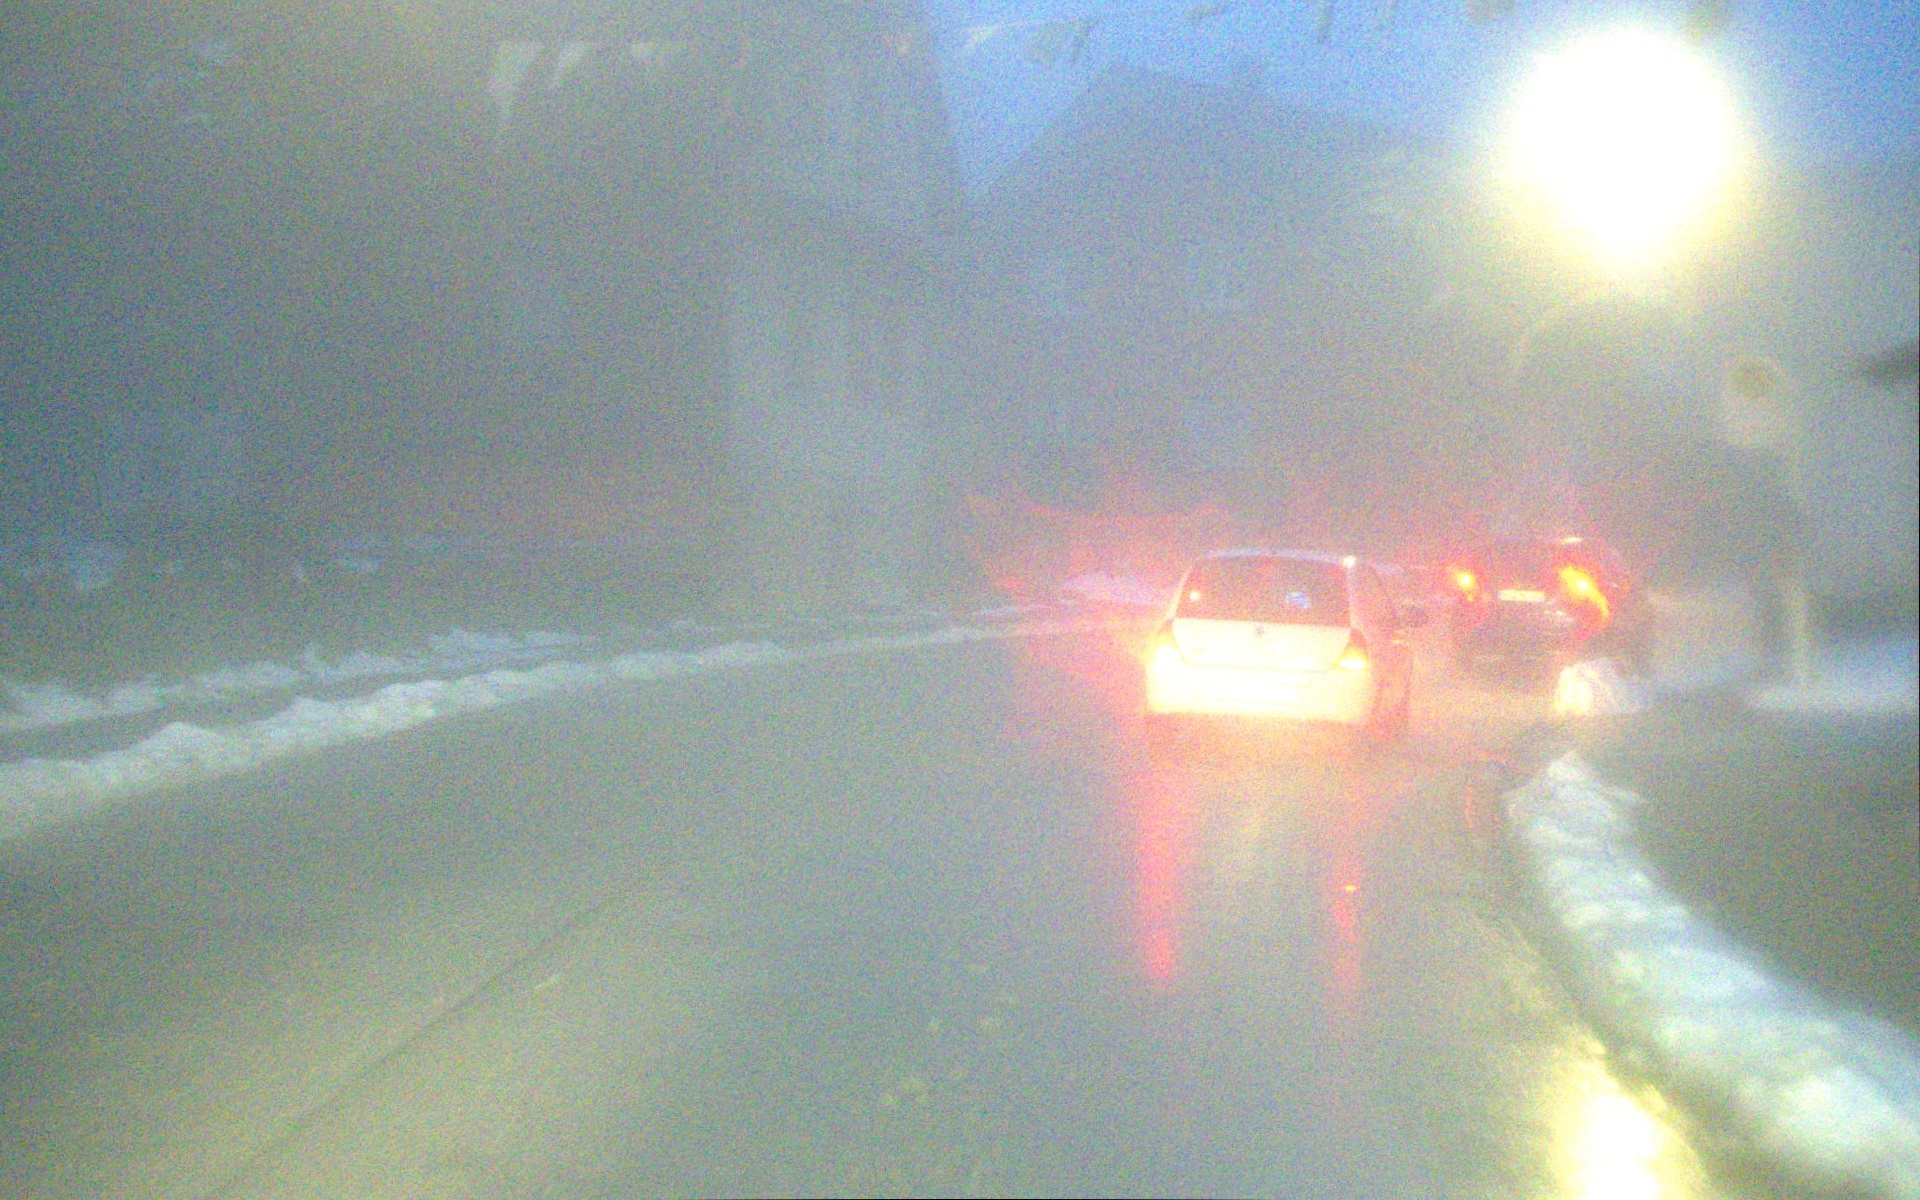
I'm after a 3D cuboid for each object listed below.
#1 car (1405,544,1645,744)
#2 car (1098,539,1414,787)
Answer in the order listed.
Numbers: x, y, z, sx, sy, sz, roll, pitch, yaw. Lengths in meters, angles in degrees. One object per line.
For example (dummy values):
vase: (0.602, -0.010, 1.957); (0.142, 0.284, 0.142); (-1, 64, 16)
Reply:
car: (6.425, 0.545, 38.744); (1.995, 2.007, 3.996); (4, -1, 18)
car: (2.085, 0.470, 24.778); (1.994, 1.503, 3.999); (4, -1, 4)
